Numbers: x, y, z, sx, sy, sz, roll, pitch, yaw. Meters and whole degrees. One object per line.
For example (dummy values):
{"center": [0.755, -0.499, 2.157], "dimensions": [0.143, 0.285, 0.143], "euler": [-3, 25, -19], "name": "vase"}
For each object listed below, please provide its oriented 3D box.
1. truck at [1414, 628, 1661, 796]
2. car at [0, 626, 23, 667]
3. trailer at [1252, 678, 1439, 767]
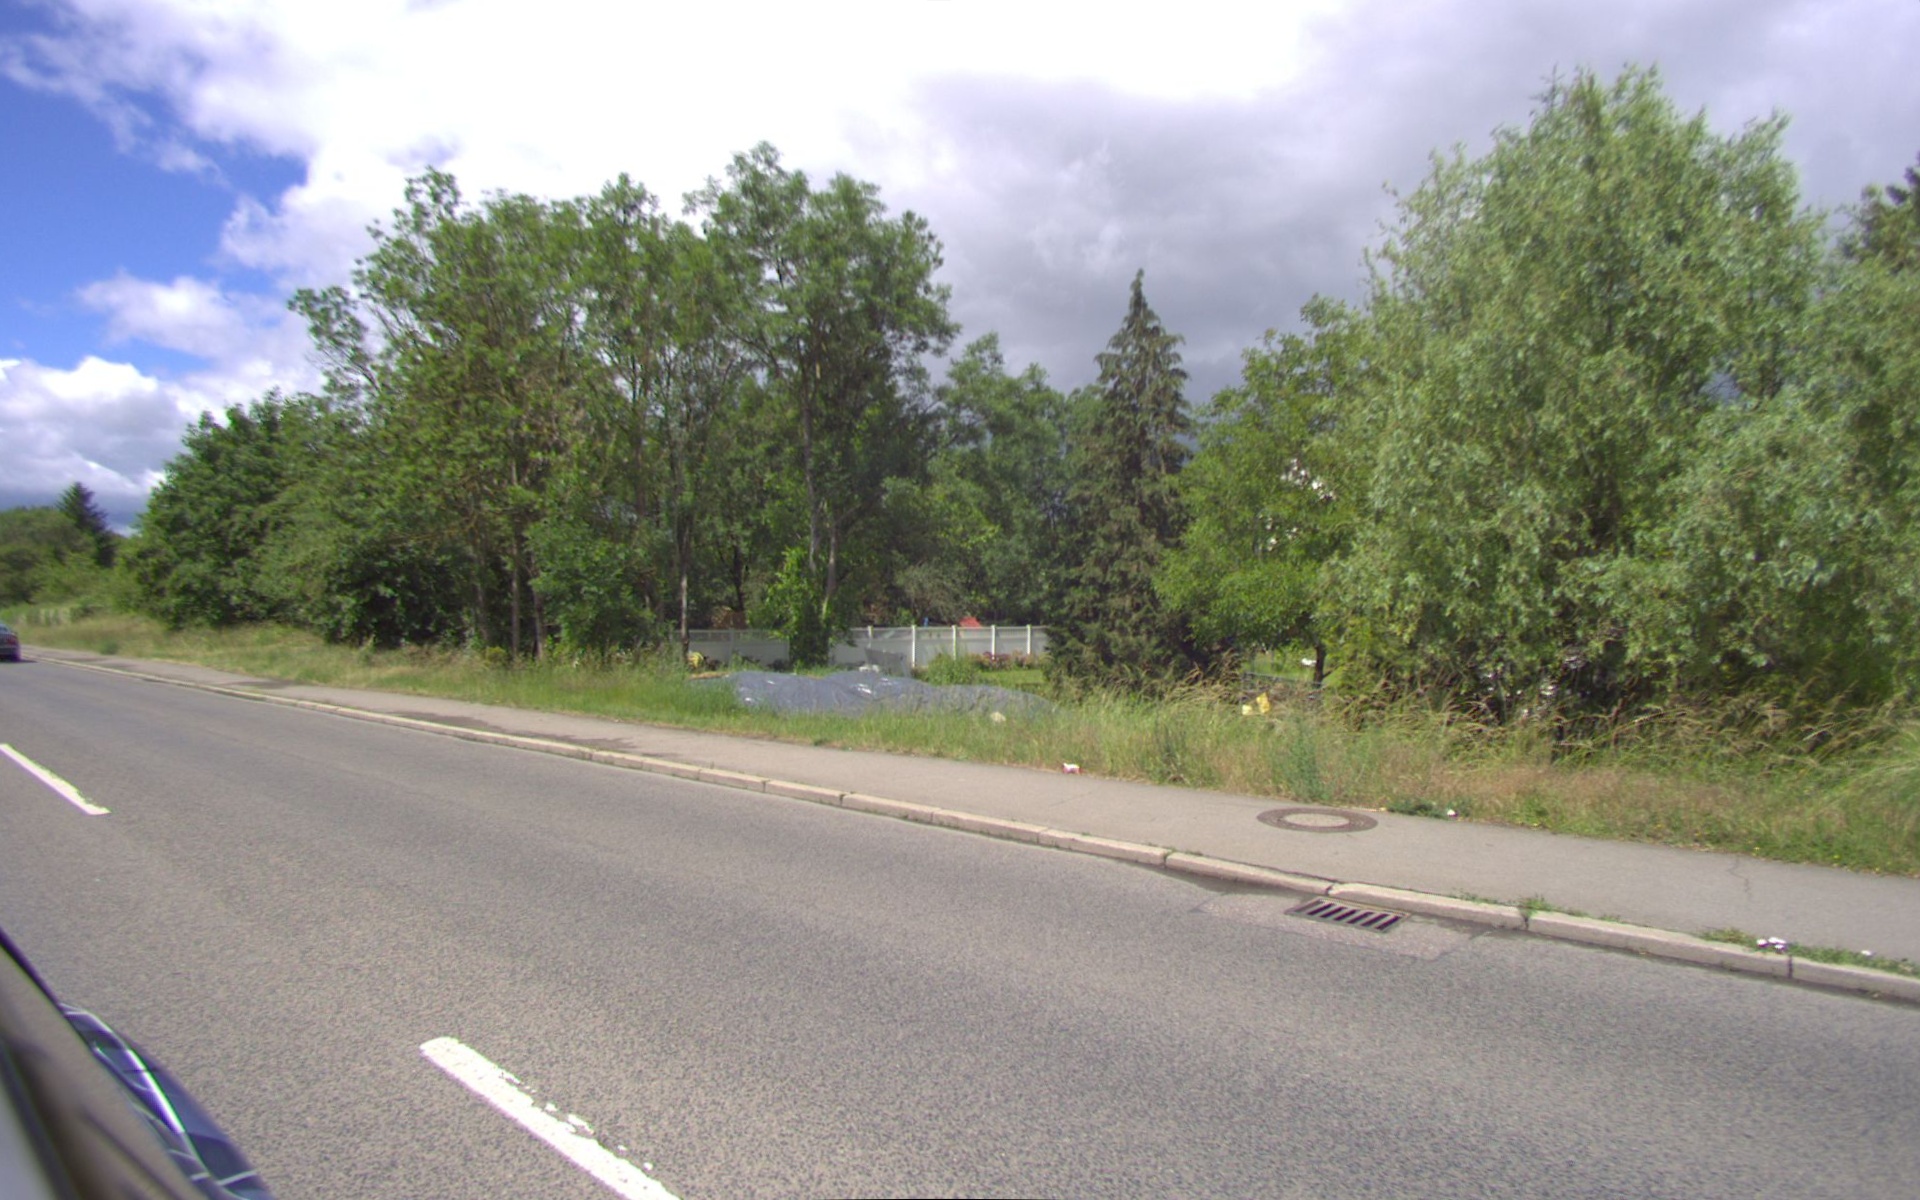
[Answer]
{"center": [10.829, 1.918, 18.725], "dimensions": [6.125, 2.629, 2.003], "euler": [3, -3, -40], "name": "truck"}
{"center": [-33.778, 1.569, 34.717], "dimensions": [4.618, 1.344, 1.766], "euler": [-2, -4, 40], "name": "car"}
{"center": [8.068, 2.461, 21.052], "dimensions": [3.937, 1.567, 2.003], "euler": [3, -3, -40], "name": "trailer"}
